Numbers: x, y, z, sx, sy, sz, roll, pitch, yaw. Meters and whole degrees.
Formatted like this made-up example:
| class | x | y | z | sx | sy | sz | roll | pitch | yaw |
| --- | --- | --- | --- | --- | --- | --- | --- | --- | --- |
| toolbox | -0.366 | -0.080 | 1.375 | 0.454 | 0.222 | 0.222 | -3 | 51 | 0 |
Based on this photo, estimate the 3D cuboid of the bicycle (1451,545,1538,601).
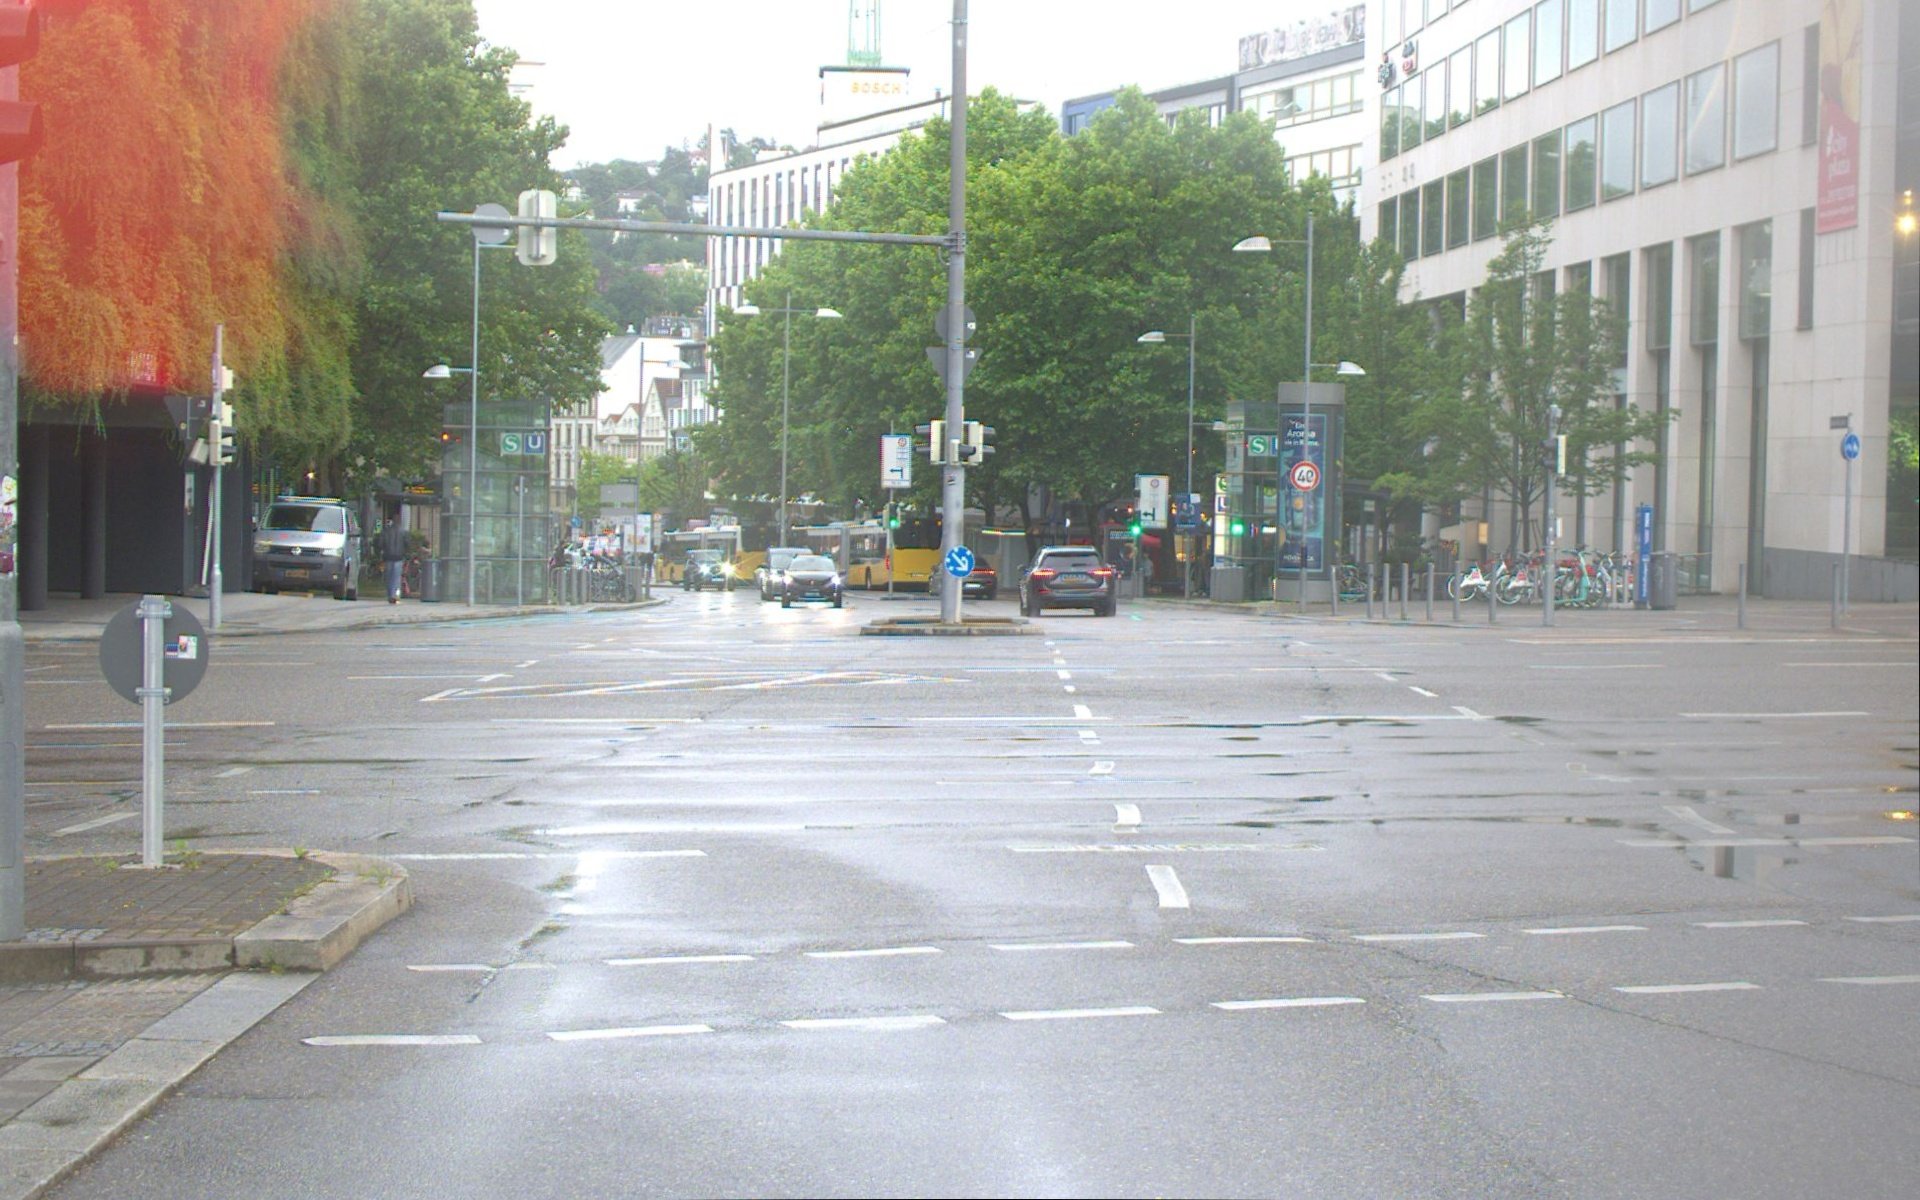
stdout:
| class | x | y | z | sx | sy | sz | roll | pitch | yaw |
| --- | --- | --- | --- | --- | --- | --- | --- | --- | --- |
| bicycle | 11.550 | -0.590 | 74.333 | 1.777 | 1.190 | 0.586 | 1 | 0 | 2 |

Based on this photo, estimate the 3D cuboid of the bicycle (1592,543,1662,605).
| class | x | y | z | sx | sy | sz | roll | pitch | yaw |
| --- | --- | --- | --- | --- | --- | --- | --- | --- | --- |
| bicycle | 12.993 | -0.496 | 66.960 | 0.586 | 1.190 | 1.779 | 1 | 1 | 38 |

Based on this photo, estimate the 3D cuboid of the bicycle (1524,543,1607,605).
| class | x | y | z | sx | sy | sz | roll | pitch | yaw |
| --- | --- | --- | --- | --- | --- | --- | --- | --- | --- |
| bicycle | 11.689 | -0.509 | 66.403 | 0.584 | 1.190 | 1.784 | 1 | 1 | -28 |

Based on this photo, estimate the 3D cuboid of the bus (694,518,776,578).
| class | x | y | z | sx | sy | sz | roll | pitch | yaw |
| --- | --- | --- | --- | --- | --- | --- | --- | --- | --- |
| bus | -11.363 | -2.646 | 173.239 | 2.627 | 2.985 | 7.330 | 0 | 1 | -16 |

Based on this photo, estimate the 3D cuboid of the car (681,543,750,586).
| class | x | y | z | sx | sy | sz | roll | pitch | yaw |
| --- | --- | --- | --- | --- | --- | --- | --- | --- | --- |
| car | -10.249 | -1.487 | 143.861 | 2.163 | 1.759 | 5.113 | 1 | 1 | -12 |

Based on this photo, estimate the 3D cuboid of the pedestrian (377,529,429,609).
| class | x | y | z | sx | sy | sz | roll | pitch | yaw |
| --- | --- | --- | --- | --- | --- | --- | --- | --- | --- |
| pedestrian | -11.474 | -0.636 | 70.896 | 0.933 | 1.638 | 0.774 | 1 | 0 | -1 |

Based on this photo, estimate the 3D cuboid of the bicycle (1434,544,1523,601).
| class | x | y | z | sx | sy | sz | roll | pitch | yaw |
| --- | --- | --- | --- | --- | --- | --- | --- | --- | --- |
| bicycle | 10.973 | -0.582 | 72.781 | 1.777 | 1.190 | 0.586 | 1 | 0 | 2 |

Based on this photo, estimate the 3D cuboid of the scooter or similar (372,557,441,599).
| class | x | y | z | sx | sy | sz | roll | pitch | yaw |
| --- | --- | --- | --- | --- | --- | --- | --- | --- | --- |
| scooter or similar | -13.288 | -0.534 | 82.554 | 0.623 | 1.001 | 1.657 | 1 | 1 | 38 |

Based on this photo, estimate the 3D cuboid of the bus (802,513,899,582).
| class | x | y | z | sx | sy | sz | roll | pitch | yaw |
| --- | --- | --- | --- | --- | --- | --- | --- | --- | --- |
| bus | -4.920 | -2.353 | 153.094 | 2.627 | 2.985 | 7.451 | 0 | 1 | -16 |

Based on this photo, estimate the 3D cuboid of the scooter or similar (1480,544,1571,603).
| class | x | y | z | sx | sy | sz | roll | pitch | yaw |
| --- | --- | --- | --- | --- | --- | --- | --- | --- | --- |
| scooter or similar | 11.666 | -0.555 | 70.990 | 1.777 | 1.190 | 0.586 | 1 | 0 | 2 |

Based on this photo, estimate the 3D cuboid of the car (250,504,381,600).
| class | x | y | z | sx | sy | sz | roll | pitch | yaw |
| --- | --- | --- | --- | --- | --- | --- | --- | --- | --- |
| car | -12.780 | -0.947 | 68.336 | 1.870 | 1.833 | 4.000 | 1 | 1 | -1 |

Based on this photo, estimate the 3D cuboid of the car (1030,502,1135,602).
| class | x | y | z | sx | sy | sz | roll | pitch | yaw |
| --- | --- | --- | --- | --- | --- | --- | --- | --- | --- |
| car | 2.585 | -0.984 | 71.623 | 1.544 | 2.007 | 4.666 | 1 | 1 | 10 |

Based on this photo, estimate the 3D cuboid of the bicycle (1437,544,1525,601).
| class | x | y | z | sx | sy | sz | roll | pitch | yaw |
| --- | --- | --- | --- | --- | --- | --- | --- | --- | --- |
| bicycle | 11.121 | -0.586 | 73.416 | 1.777 | 1.190 | 0.586 | 1 | 0 | 2 |

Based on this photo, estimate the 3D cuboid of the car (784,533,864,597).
| class | x | y | z | sx | sy | sz | roll | pitch | yaw |
| --- | --- | --- | --- | --- | --- | --- | --- | --- | --- |
| car | -3.932 | -1.016 | 98.779 | 2.164 | 1.759 | 5.112 | 1 | 1 | -3 |

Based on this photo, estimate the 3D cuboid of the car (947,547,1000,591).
| class | x | y | z | sx | sy | sz | roll | pitch | yaw |
| --- | --- | --- | --- | --- | --- | --- | --- | --- | --- |
| car | 0.457 | -1.085 | 120.263 | 1.781 | 1.503 | 4.000 | 1 | 1 | -1 |

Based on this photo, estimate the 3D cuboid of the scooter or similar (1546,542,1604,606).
| class | x | y | z | sx | sy | sz | roll | pitch | yaw |
| --- | --- | --- | --- | --- | --- | --- | --- | --- | --- |
| scooter or similar | 11.478 | -0.489 | 64.166 | 0.963 | 1.190 | 0.454 | 1 | 1 | 40 |

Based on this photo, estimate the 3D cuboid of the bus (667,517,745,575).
| class | x | y | z | sx | sy | sz | roll | pitch | yaw |
| --- | --- | --- | --- | --- | --- | --- | --- | --- | --- |
| bus | -13.377 | -2.868 | 180.334 | 2.627 | 2.985 | 7.451 | 0 | 1 | -16 |

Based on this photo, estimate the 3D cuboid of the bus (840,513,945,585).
| class | x | y | z | sx | sy | sz | roll | pitch | yaw |
| --- | --- | --- | --- | --- | --- | --- | --- | --- | --- |
| bus | -2.906 | -2.199 | 145.948 | 2.627 | 2.985 | 7.451 | 0 | 1 | -16 |

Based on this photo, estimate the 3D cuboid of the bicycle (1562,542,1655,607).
| class | x | y | z | sx | sy | sz | roll | pitch | yaw |
| --- | --- | --- | --- | --- | --- | --- | --- | --- | --- |
| bicycle | 12.232 | -0.486 | 64.850 | 1.624 | 1.190 | 0.586 | 1 | 0 | 26 |

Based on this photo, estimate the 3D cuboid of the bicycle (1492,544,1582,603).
| class | x | y | z | sx | sy | sz | roll | pitch | yaw |
| --- | --- | --- | --- | --- | --- | --- | --- | --- | --- |
| bicycle | 12.020 | -0.556 | 71.613 | 1.777 | 1.190 | 0.586 | 1 | 0 | 2 |
